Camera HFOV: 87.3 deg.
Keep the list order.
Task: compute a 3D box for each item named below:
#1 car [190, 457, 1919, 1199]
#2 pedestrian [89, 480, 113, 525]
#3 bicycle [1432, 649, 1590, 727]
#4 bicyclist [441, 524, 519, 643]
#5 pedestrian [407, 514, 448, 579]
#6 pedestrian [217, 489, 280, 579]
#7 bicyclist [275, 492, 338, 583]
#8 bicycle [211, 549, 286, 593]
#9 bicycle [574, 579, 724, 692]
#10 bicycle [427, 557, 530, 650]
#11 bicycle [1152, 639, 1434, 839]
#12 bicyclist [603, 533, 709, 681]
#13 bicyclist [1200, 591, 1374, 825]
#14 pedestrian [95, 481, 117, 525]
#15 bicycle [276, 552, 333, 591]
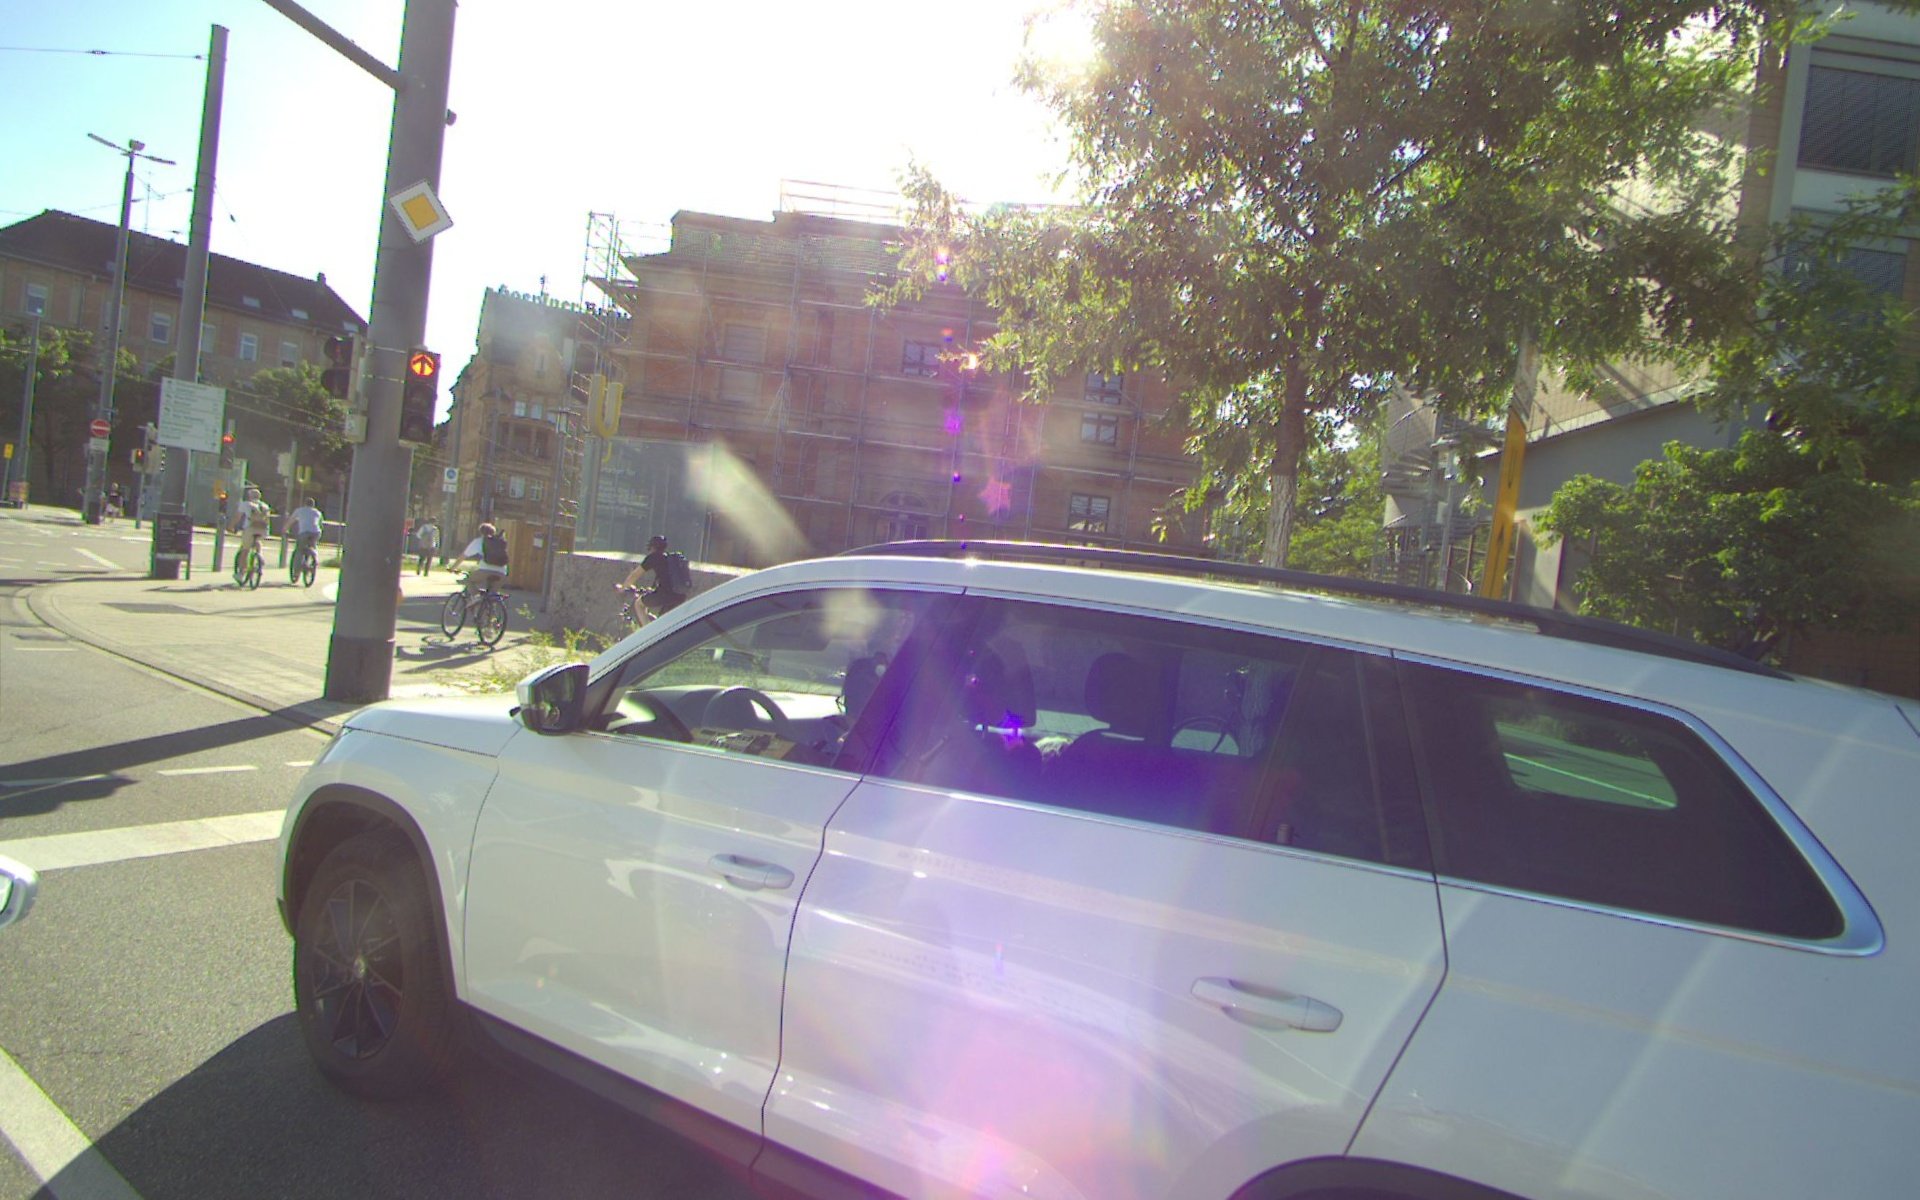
[{"bbox_3d":[-0.004,0.676,2.687,4.224,1.662,1.697,7,0,30],"label":"car"},{"bbox_3d":[-41.058,-4.654,48.061,0.443,2.039,0.574,7,1,14],"label":"pedestrian"},{"bbox_3d":[13.089,2.077,23.992,3.079,1.395,0.798,7,1,8],"label":"bicycle"},{"bbox_3d":[-6.807,-0.240,14.254,0.932,1.590,0.570,7,4,38],"label":"bicyclist"},{"bbox_3d":[-16.624,-1.674,31.407,0.887,1.883,0.922,6,1,-23],"label":"pedestrian"},{"bbox_3d":[-13.522,-1.249,19.125,0.843,1.582,0.549,7,1,30],"label":"pedestrian"},{"bbox_3d":[-13.869,-1.325,21.365,0.910,1.802,0.746,8,2,37],"label":"bicyclist"},{"bbox_3d":[-13.602,-0.556,19.216,1.697,0.664,0.537,7,3,31],"label":"bicycle"},{"bbox_3d":[-3.812,0.405,12.294,1.819,1.129,0.625,7,4,30],"label":"bicycle"},{"bbox_3d":[-6.864,0.032,14.296,1.714,1.141,0.570,7,4,38],"label":"bicycle"},{"bbox_3d":[2.563,1.023,7.844,1.853,1.178,0.686,7,0,34],"label":"bicycle"},{"bbox_3d":[-3.690,0.075,12.209,0.978,1.660,0.625,7,4,30],"label":"bicyclist"},{"bbox_3d":[2.555,0.811,7.856,0.961,1.618,0.686,8,0,33],"label":"bicyclist"},{"bbox_3d":[-41.380,-4.690,48.745,0.443,2.039,0.462,7,2,14],"label":"pedestrian"},{"bbox_3d":[-13.898,-0.614,21.309,1.445,0.664,0.536,7,2,38],"label":"bicycle"}]
